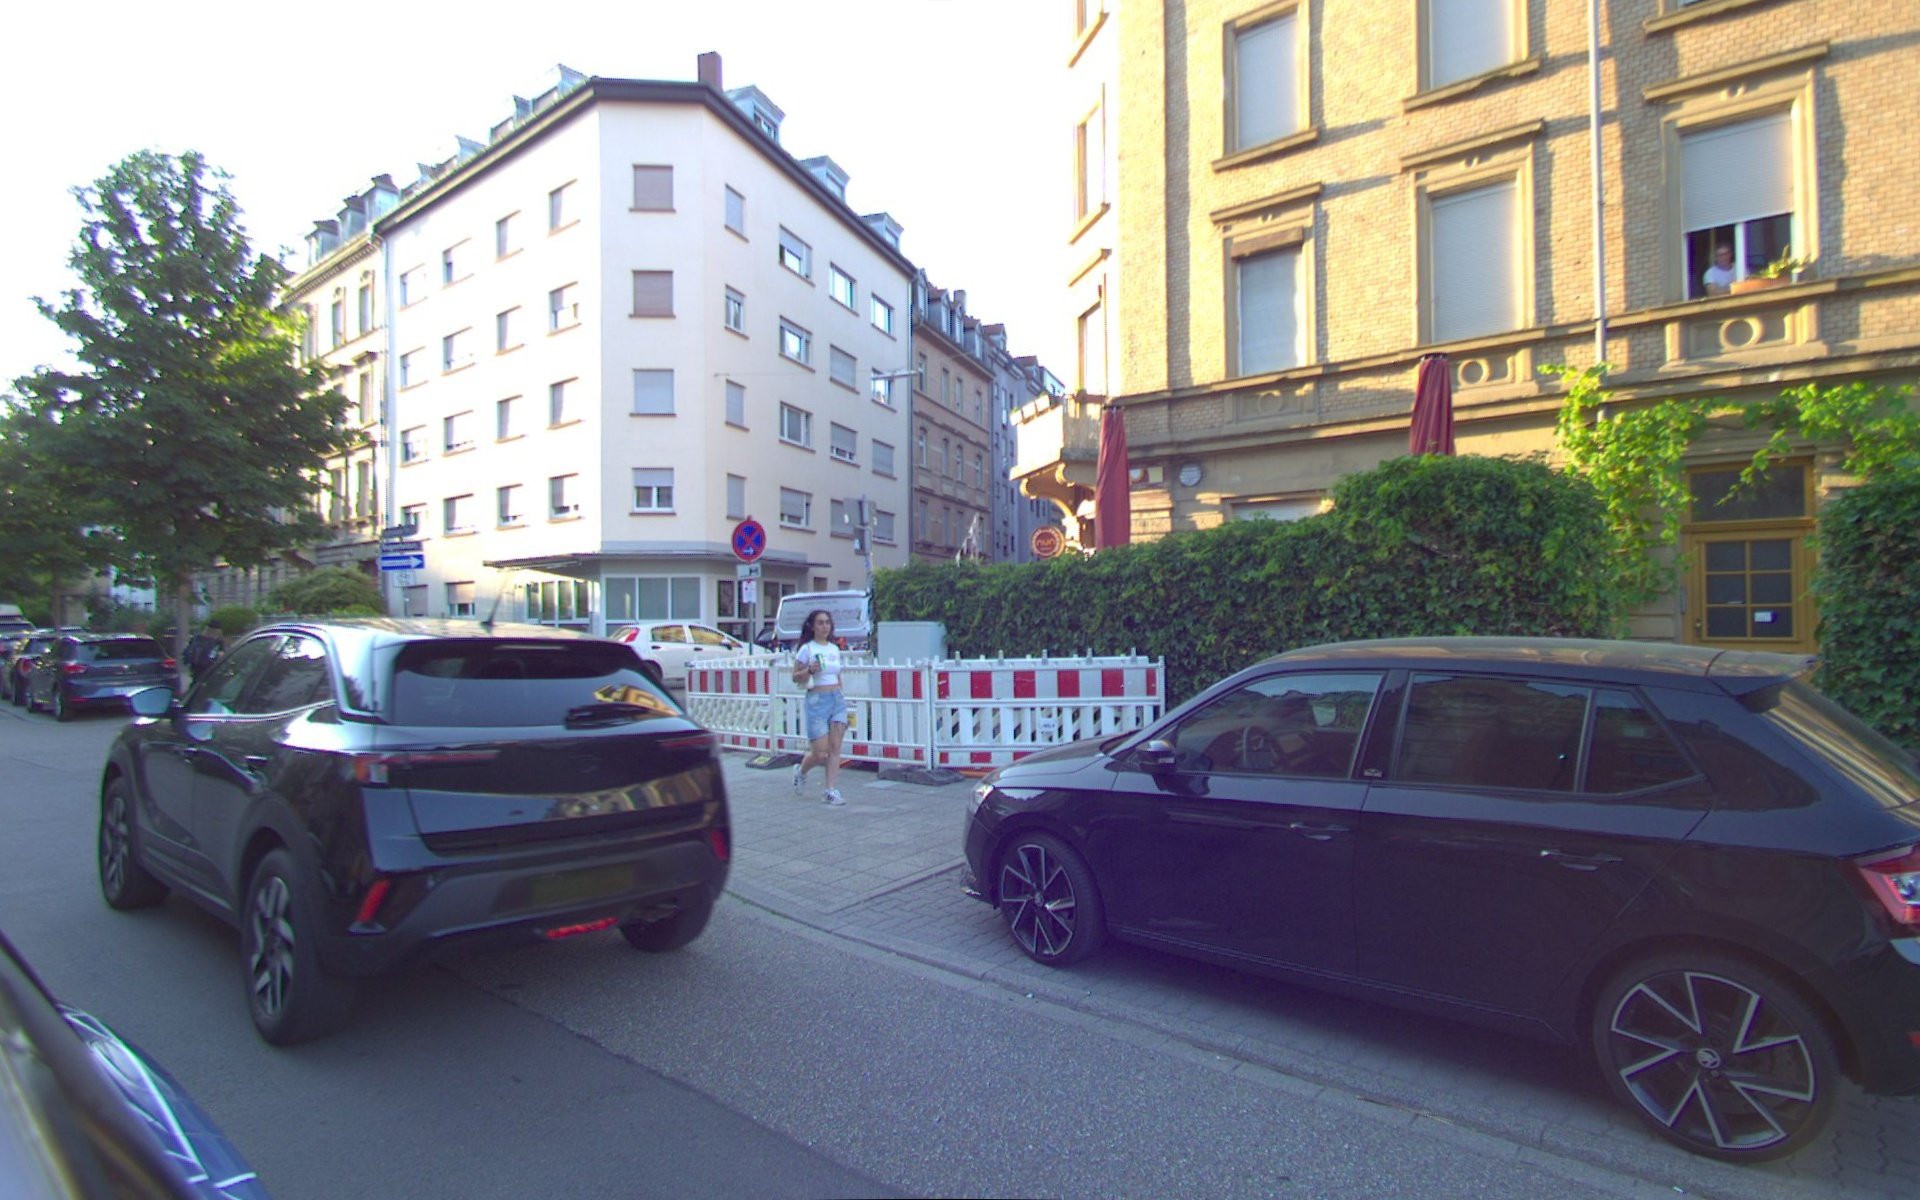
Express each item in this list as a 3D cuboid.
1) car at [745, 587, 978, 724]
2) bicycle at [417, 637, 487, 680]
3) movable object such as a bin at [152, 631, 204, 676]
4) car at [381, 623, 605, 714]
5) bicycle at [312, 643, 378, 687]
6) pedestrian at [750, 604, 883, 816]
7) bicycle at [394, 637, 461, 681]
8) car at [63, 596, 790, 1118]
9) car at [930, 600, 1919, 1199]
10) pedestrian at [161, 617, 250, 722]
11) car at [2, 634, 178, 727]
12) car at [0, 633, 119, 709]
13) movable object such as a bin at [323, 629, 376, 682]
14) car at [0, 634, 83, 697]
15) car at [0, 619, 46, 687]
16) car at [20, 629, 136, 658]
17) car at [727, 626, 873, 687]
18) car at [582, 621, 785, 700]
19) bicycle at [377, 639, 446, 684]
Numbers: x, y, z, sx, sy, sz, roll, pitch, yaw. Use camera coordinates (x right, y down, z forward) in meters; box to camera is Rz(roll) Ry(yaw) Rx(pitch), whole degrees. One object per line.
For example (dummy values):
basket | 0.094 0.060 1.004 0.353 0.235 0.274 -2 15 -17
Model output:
car | -1.461 0.882 17.559 2.189 1.990 5.265 -2 -2 17
bicycle | -13.688 1.578 27.276 1.689 1.100 0.385 -2 0 4
movable object such as a bin | -25.540 1.724 33.057 1.549 1.398 0.937 -2 0 37
car | -8.927 1.252 19.527 1.843 1.519 3.471 -3 -2 39
bicycle | -15.306 1.598 25.170 1.927 1.033 0.681 -2 0 35
pedestrian | -1.184 0.863 8.376 0.785 1.630 0.703 -2 0 35
bicycle | -14.128 1.572 26.851 1.528 1.100 0.500 -2 0 3
car | -2.821 0.817 4.961 3.997 1.529 1.761 -1 -3 40
car | 1.862 0.811 4.257 3.841 1.546 1.686 -2 -1 41
pedestrian | -13.191 1.189 17.728 0.877 1.735 0.960 -2 0 -8
car | -16.075 1.386 18.634 4.458 1.472 1.658 -2 -1 38
car | -19.646 1.466 21.880 4.142 1.431 1.723 -2 -1 43
movable object such as a bin | -16.766 1.505 27.794 1.398 1.362 0.857 -2 0 42
car | -23.571 1.576 25.217 4.586 1.423 1.843 -2 -1 39
car | -27.394 1.478 28.451 4.618 1.792 1.843 -2 -1 39
car | -45.696 2.231 52.510 1.625 1.351 4.356 -2 -1 41
car | -4.153 1.450 26.845 1.986 1.450 4.047 -2 -2 23
car | -6.289 1.309 23.140 4.007 1.520 1.978 -2 0 -38
bicycle | -14.281 1.596 26.340 1.528 1.100 0.500 -2 0 3
